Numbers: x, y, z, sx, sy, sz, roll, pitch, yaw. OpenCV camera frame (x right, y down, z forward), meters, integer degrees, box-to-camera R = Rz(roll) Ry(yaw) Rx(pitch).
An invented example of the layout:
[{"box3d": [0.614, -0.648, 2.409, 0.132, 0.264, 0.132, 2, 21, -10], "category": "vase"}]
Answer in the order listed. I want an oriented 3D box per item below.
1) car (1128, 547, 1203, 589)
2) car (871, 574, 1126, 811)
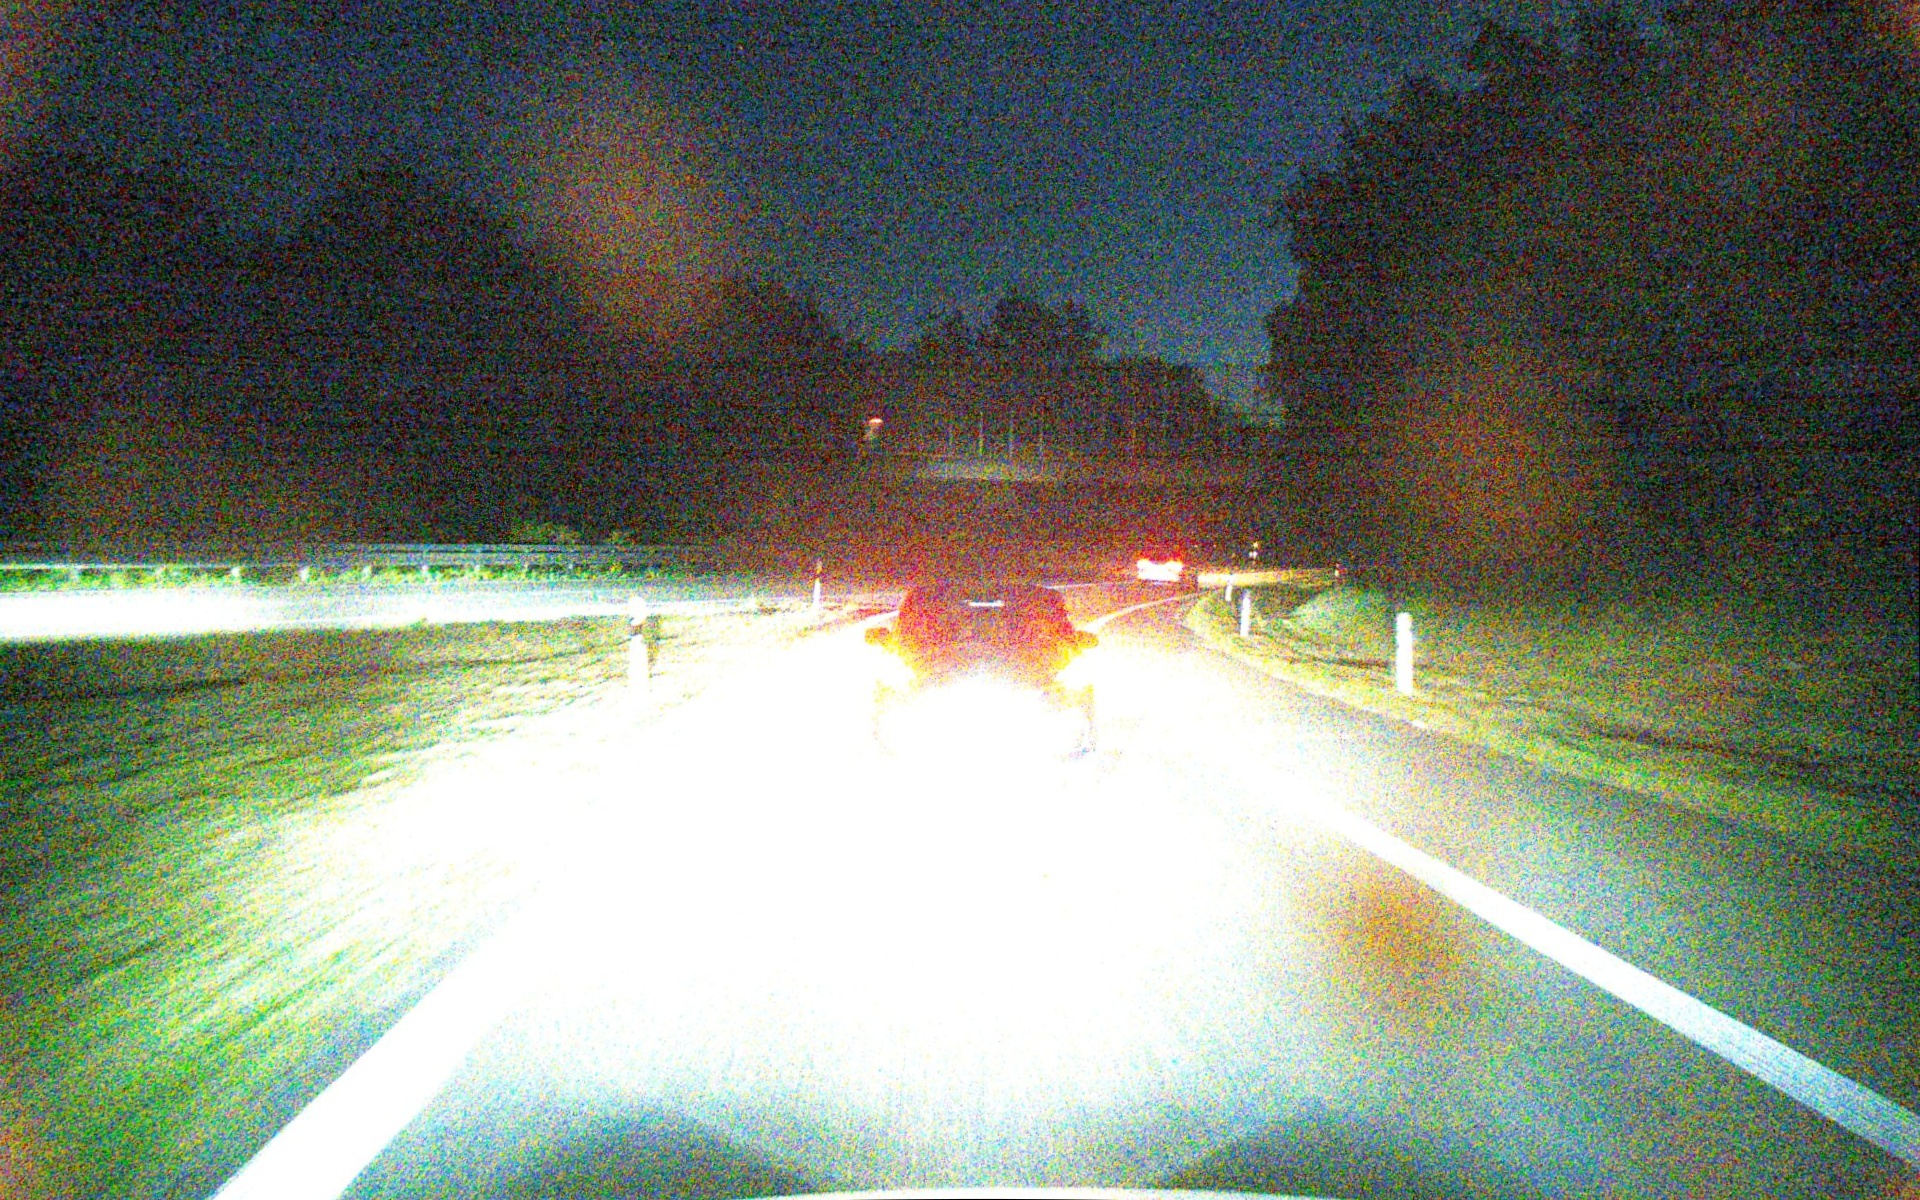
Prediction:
[{"box3d": [8.113, -1.222, 65.052, 1.911, 1.565, 4.241, -1, 0, 21], "category": "car"}, {"box3d": [0.287, 0.576, 12.846, 1.656, 1.503, 4.001, 1, 1, 1], "category": "car"}]
